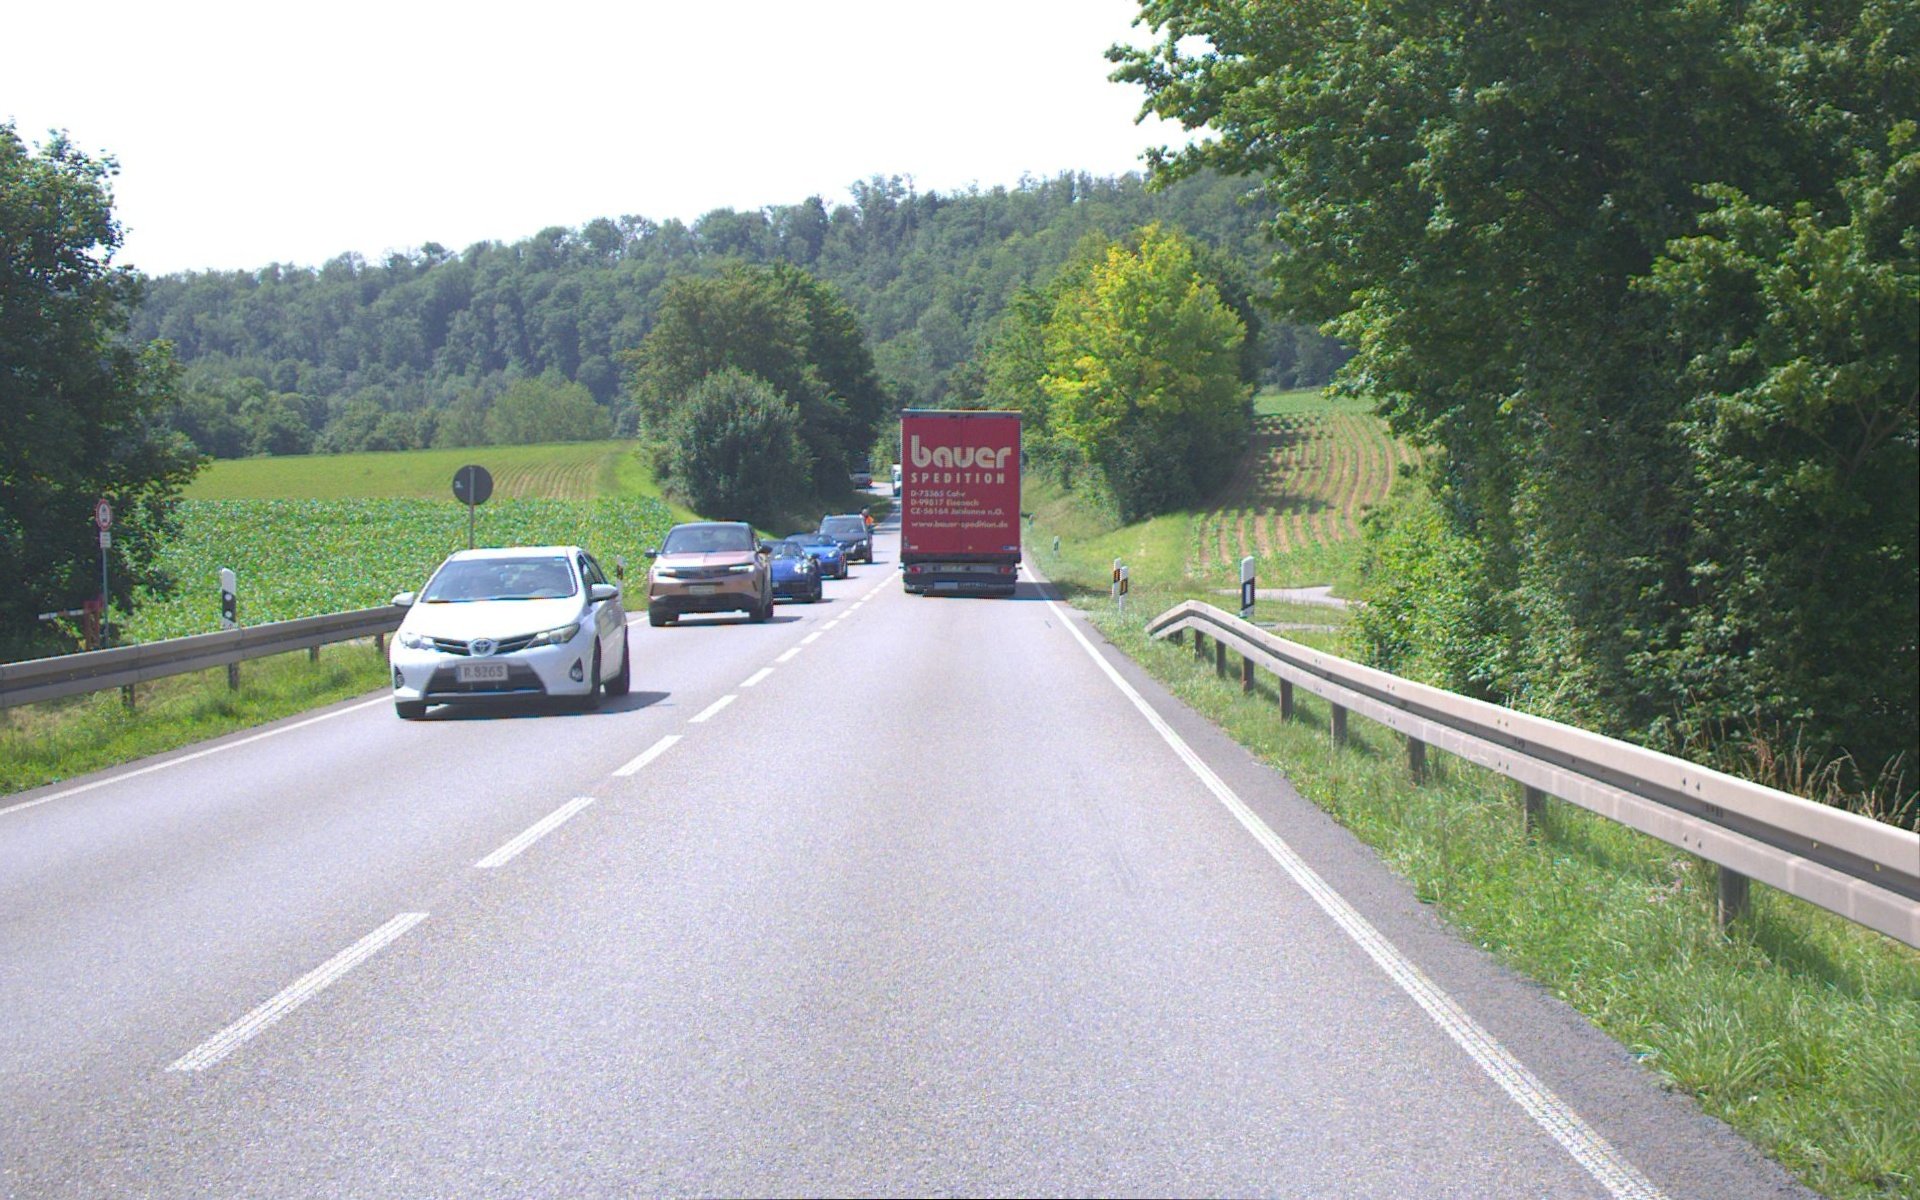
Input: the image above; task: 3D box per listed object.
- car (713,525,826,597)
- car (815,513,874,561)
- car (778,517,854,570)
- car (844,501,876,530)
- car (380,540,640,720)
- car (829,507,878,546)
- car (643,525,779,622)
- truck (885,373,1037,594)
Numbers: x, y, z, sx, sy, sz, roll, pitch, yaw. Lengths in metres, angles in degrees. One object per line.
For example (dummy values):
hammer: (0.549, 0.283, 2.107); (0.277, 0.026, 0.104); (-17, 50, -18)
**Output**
car: (-3.797, -0.811, 69.222); (1.993, 1.337, 4.000); (-1, 2, 0)
car: (-3.785, -2.084, 113.298); (1.808, 1.481, 4.000); (-1, 2, 0)
car: (-3.839, -1.525, 92.379); (1.832, 1.337, 4.000); (-1, 2, 0)
car: (-6.424, -5.419, 221.111); (1.993, 1.788, 4.000); (-1, 1, -1)
car: (-3.980, 0.217, 30.965); (1.731, 1.429, 3.916); (-3, 1, 0)
car: (-4.210, -2.923, 136.006); (1.808, 1.481, 4.000); (-1, 2, 0)
car: (-4.062, -0.462, 56.654); (1.913, 1.469, 3.874); (-1, 1, 0)
truck: (0.013, -2.618, 78.788); (3.172, 4.609, 13.544); (0, 1, 0)
